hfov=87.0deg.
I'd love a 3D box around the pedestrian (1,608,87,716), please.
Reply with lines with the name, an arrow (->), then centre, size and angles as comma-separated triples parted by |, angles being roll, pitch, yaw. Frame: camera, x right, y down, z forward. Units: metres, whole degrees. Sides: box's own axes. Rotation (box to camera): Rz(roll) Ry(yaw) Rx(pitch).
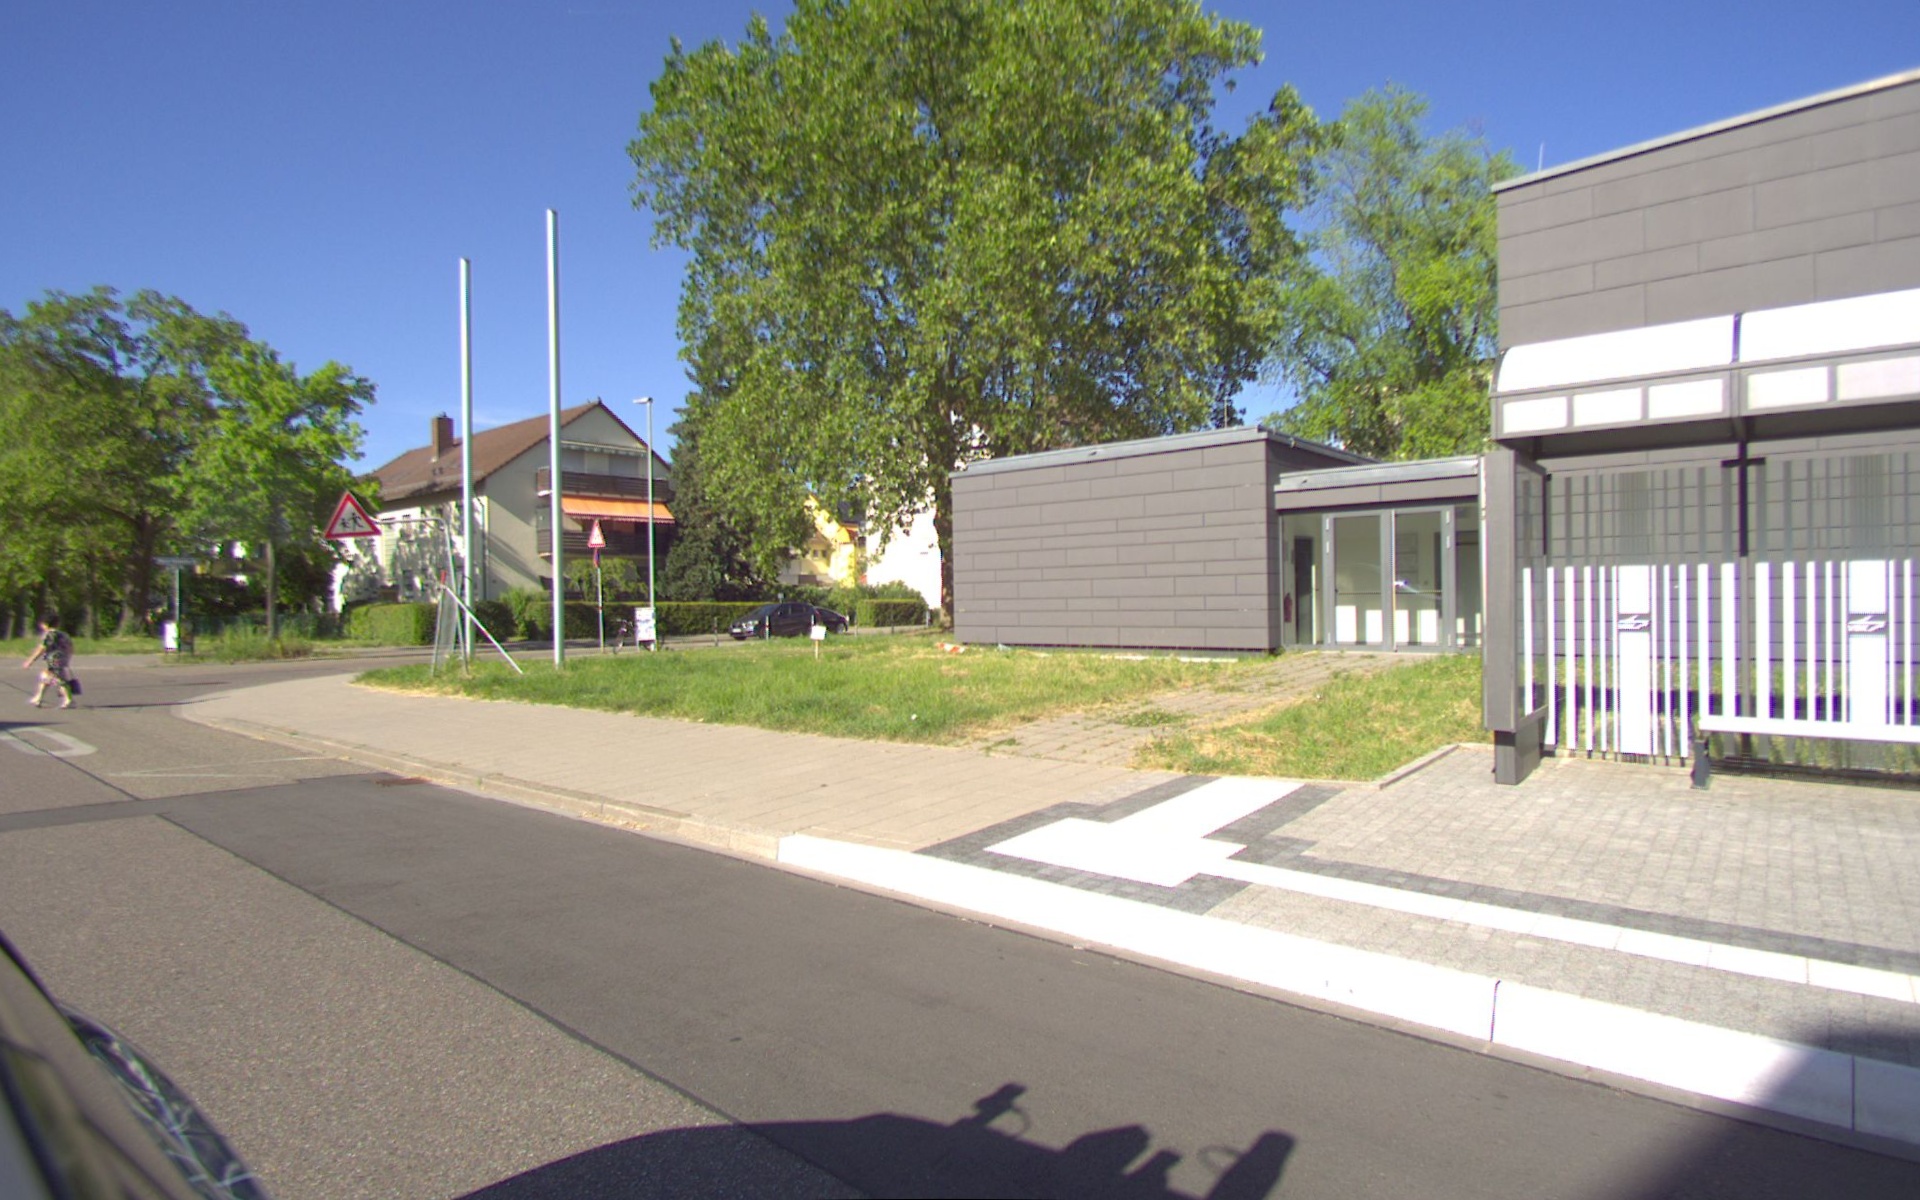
pedestrian -> -14.097, 0.943, 15.602 | 0.822, 1.599, 0.634 | 3, -1, -32

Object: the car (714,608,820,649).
car -> -8.129, 1.173, 42.958 | 2.112, 1.468, 4.058 | 0, 2, 37

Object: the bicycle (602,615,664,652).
bicycle -> -9.187, 0.950, 28.486 | 1.574, 0.992, 0.501 | 0, -4, -34
